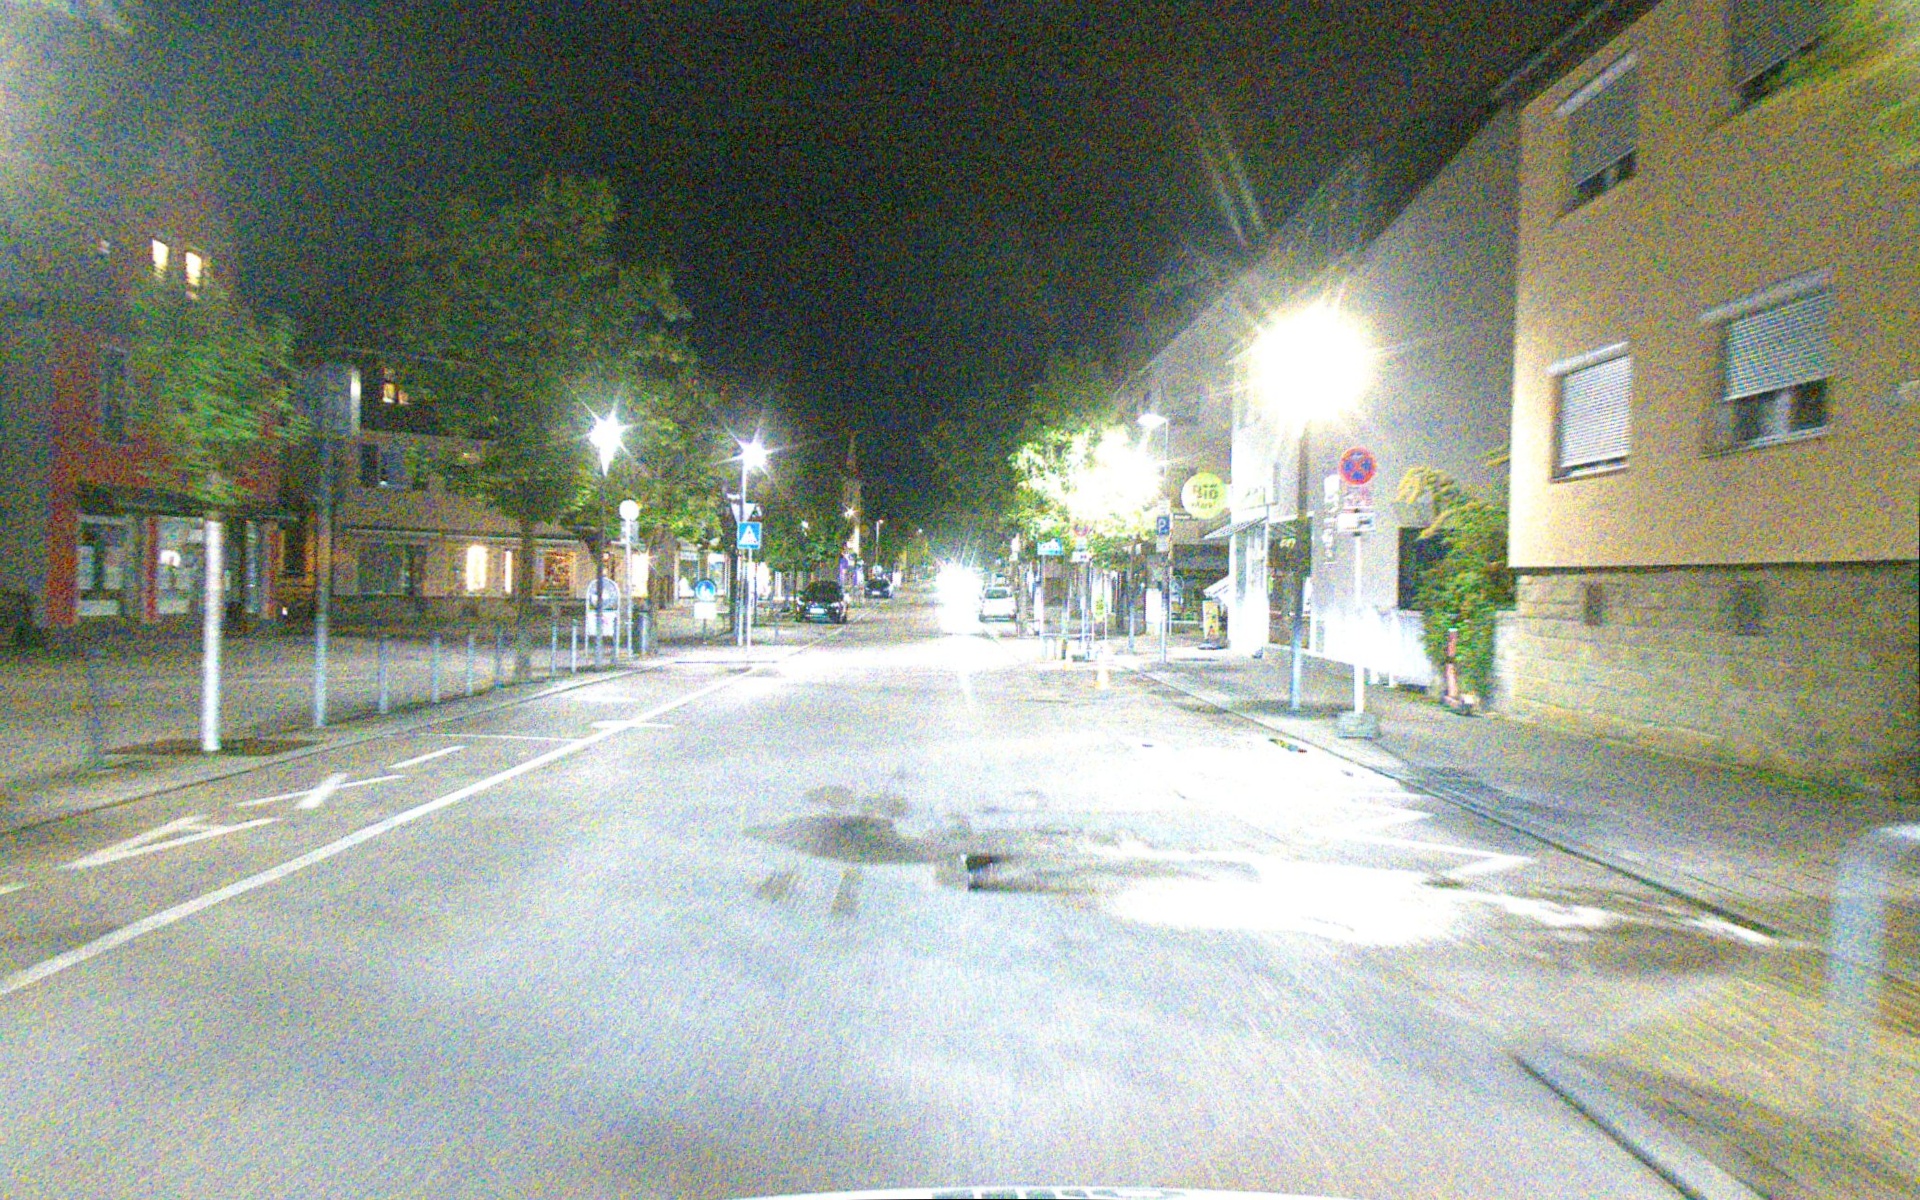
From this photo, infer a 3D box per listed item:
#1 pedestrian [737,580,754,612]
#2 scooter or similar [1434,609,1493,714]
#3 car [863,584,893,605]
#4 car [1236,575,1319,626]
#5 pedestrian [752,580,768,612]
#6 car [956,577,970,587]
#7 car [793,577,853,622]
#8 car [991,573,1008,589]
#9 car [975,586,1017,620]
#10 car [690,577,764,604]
[{"bbox_3d":[-11.548,-0.237,89.103,0.753,1.684,0.817,1,2,1],"label":"pedestrian"},{"bbox_3d":[6.402,0.769,21.073,0.365,1.299,1.305,0,-1,0],"label":"scooter or similar"},{"bbox_3d":[-6.091,-0.416,123.254,1.875,1.394,4.459,0,1,1],"label":"car"},{"bbox_3d":[10.364,0.047,54.289,1.768,1.485,4.055,-4,-1,-2],"label":"car"},{"bbox_3d":[-10.784,-0.220,89.098,0.753,1.684,0.782,1,2,1],"label":"pedestrian"},{"bbox_3d":[0.424,-2.287,214.590,1.687,1.268,4.238,0,1,1],"label":"car"},{"bbox_3d":[-5.686,-0.062,69.140,1.976,1.720,5.003,2,1,0],"label":"car"},{"bbox_3d":[4.234,-2.040,176.731,1.739,1.681,4.365,0,1,1],"label":"car"},{"bbox_3d":[1.611,0.128,75.017,1.641,1.485,3.674,0,1,-2],"label":"car"},{"bbox_3d":[-13.955,-0.556,99.245,4.080,1.463,1.842,-2,0,3],"label":"car"}]
